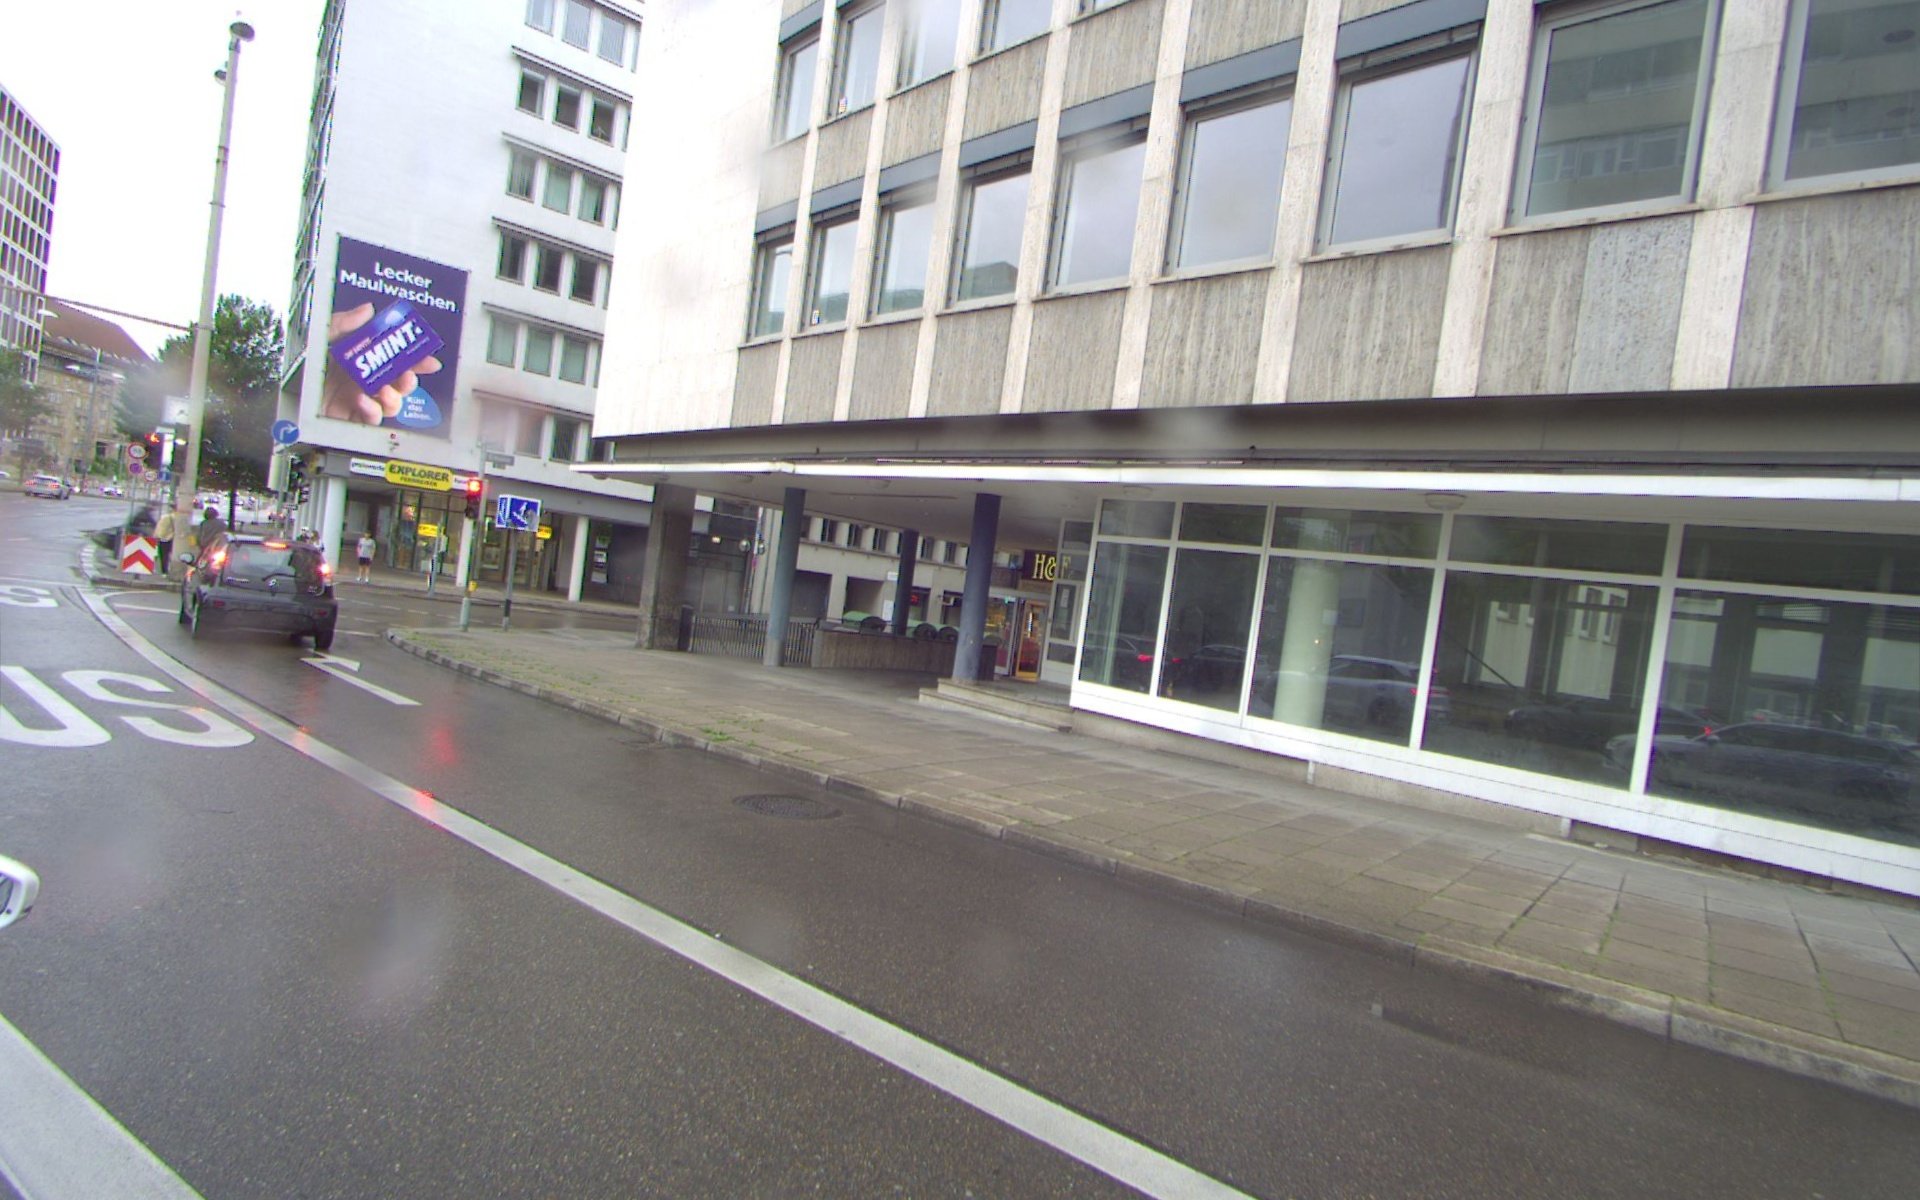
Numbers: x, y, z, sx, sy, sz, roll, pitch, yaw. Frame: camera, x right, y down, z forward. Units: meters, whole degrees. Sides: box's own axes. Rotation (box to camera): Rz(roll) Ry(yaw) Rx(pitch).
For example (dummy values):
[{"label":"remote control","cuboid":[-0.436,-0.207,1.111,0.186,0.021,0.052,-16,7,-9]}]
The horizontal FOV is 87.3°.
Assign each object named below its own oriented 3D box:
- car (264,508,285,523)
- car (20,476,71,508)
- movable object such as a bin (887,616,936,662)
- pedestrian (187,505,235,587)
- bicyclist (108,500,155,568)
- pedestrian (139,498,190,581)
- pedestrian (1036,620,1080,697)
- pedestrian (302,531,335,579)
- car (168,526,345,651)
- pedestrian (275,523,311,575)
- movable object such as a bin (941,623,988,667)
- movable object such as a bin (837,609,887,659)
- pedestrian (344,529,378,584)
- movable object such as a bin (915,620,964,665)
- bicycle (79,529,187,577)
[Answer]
[{"label":"car","cuboid":[-91.692,-11.333,134.634,1.680,1.503,3.973,8,-2,-28]},{"label":"car","cuboid":[-61.579,-7.238,67.804,1.878,1.662,3.962,8,-1,-35]},{"label":"movable object such as a bin","cuboid":[-1.690,1.366,35.201,1.095,1.399,1.186,7,1,-37]},{"label":"pedestrian","cuboid":[-17.739,-1.272,23.827,0.745,1.820,0.808,7,1,-38]},{"label":"bicyclist","cuboid":[-20.919,-1.667,25.408,0.764,1.588,0.527,7,0,-40]},{"label":"pedestrian","cuboid":[-18.575,-1.416,23.511,0.745,1.820,0.808,7,1,-38]},{"label":"pedestrian","cuboid":[2.452,1.458,25.069,0.697,1.825,0.801,8,0,18]},{"label":"pedestrian","cuboid":[-22.178,-1.539,34.773,0.616,1.561,0.651,8,0,-15]},{"label":"car","cuboid":[-10.450,-0.227,14.822,1.566,1.446,3.953,9,-2,-42]},{"label":"pedestrian","cuboid":[-22.925,-1.731,34.593,0.660,1.675,0.651,8,0,-15]},{"label":"movable object such as a bin","cuboid":[0.164,1.643,36.619,1.095,1.399,1.186,7,1,-37]},{"label":"movable object such as a bin","cuboid":[-3.274,1.136,33.522,0.961,1.447,1.268,7,1,-36]},{"label":"pedestrian","cuboid":[-21.030,-1.515,35.338,0.660,1.815,0.771,7,0,-15]},{"label":"movable object such as a bin","cuboid":[-0.741,1.516,35.931,1.095,1.399,1.186,7,1,-37]},{"label":"bicycle","cuboid":[-20.905,-1.179,25.467,2.018,0.899,0.398,9,-1,-41]}]
